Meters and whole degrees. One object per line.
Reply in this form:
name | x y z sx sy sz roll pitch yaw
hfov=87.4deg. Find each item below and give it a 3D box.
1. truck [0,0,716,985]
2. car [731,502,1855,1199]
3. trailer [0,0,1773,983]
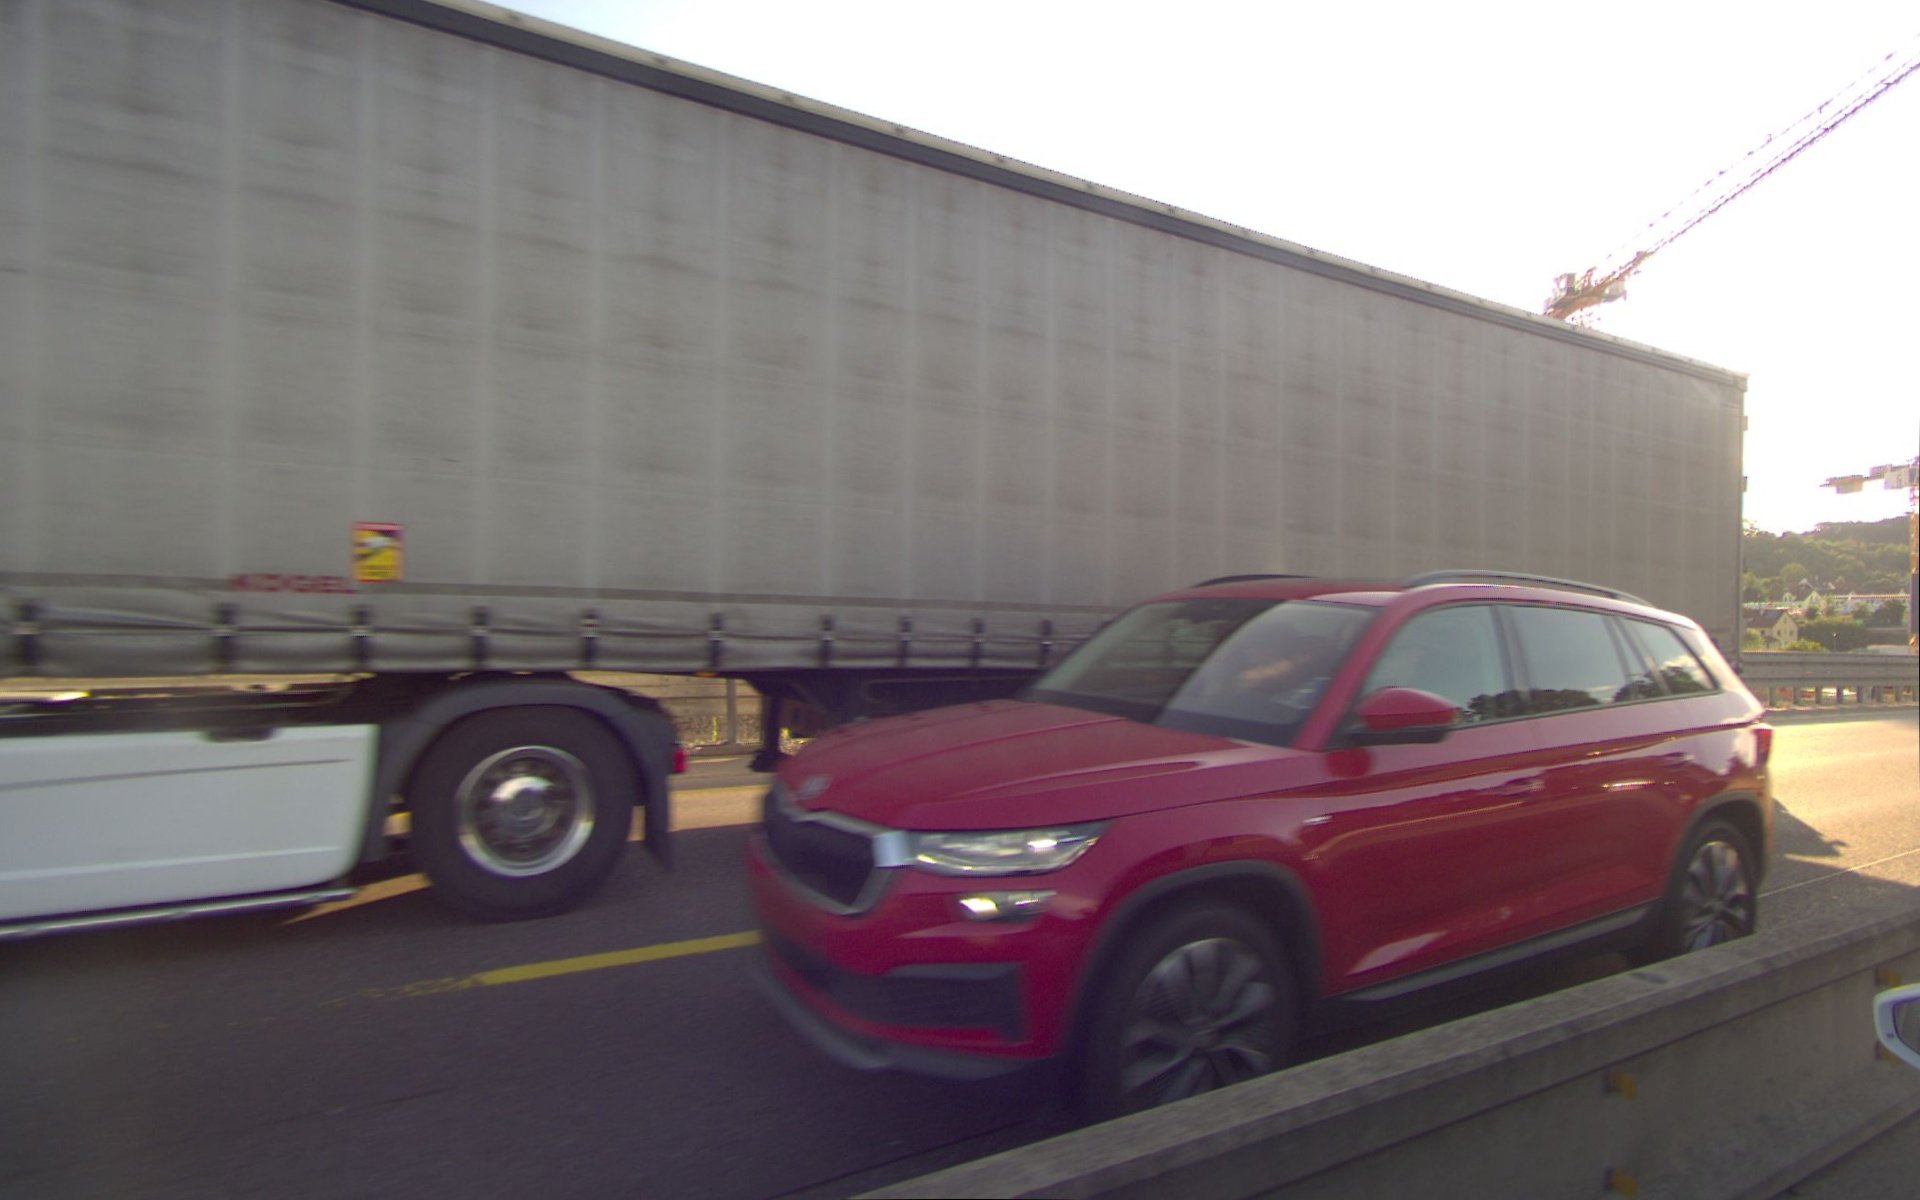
truck | -4.313 -0.687 4.649 5.604 4.102 2.802 2 -1 -29
car | 1.563 0.678 4.228 4.551 1.640 1.984 2 -1 -30
trailer | 1.582 -0.507 8.014 13.853 4.104 2.801 2 -1 -30
